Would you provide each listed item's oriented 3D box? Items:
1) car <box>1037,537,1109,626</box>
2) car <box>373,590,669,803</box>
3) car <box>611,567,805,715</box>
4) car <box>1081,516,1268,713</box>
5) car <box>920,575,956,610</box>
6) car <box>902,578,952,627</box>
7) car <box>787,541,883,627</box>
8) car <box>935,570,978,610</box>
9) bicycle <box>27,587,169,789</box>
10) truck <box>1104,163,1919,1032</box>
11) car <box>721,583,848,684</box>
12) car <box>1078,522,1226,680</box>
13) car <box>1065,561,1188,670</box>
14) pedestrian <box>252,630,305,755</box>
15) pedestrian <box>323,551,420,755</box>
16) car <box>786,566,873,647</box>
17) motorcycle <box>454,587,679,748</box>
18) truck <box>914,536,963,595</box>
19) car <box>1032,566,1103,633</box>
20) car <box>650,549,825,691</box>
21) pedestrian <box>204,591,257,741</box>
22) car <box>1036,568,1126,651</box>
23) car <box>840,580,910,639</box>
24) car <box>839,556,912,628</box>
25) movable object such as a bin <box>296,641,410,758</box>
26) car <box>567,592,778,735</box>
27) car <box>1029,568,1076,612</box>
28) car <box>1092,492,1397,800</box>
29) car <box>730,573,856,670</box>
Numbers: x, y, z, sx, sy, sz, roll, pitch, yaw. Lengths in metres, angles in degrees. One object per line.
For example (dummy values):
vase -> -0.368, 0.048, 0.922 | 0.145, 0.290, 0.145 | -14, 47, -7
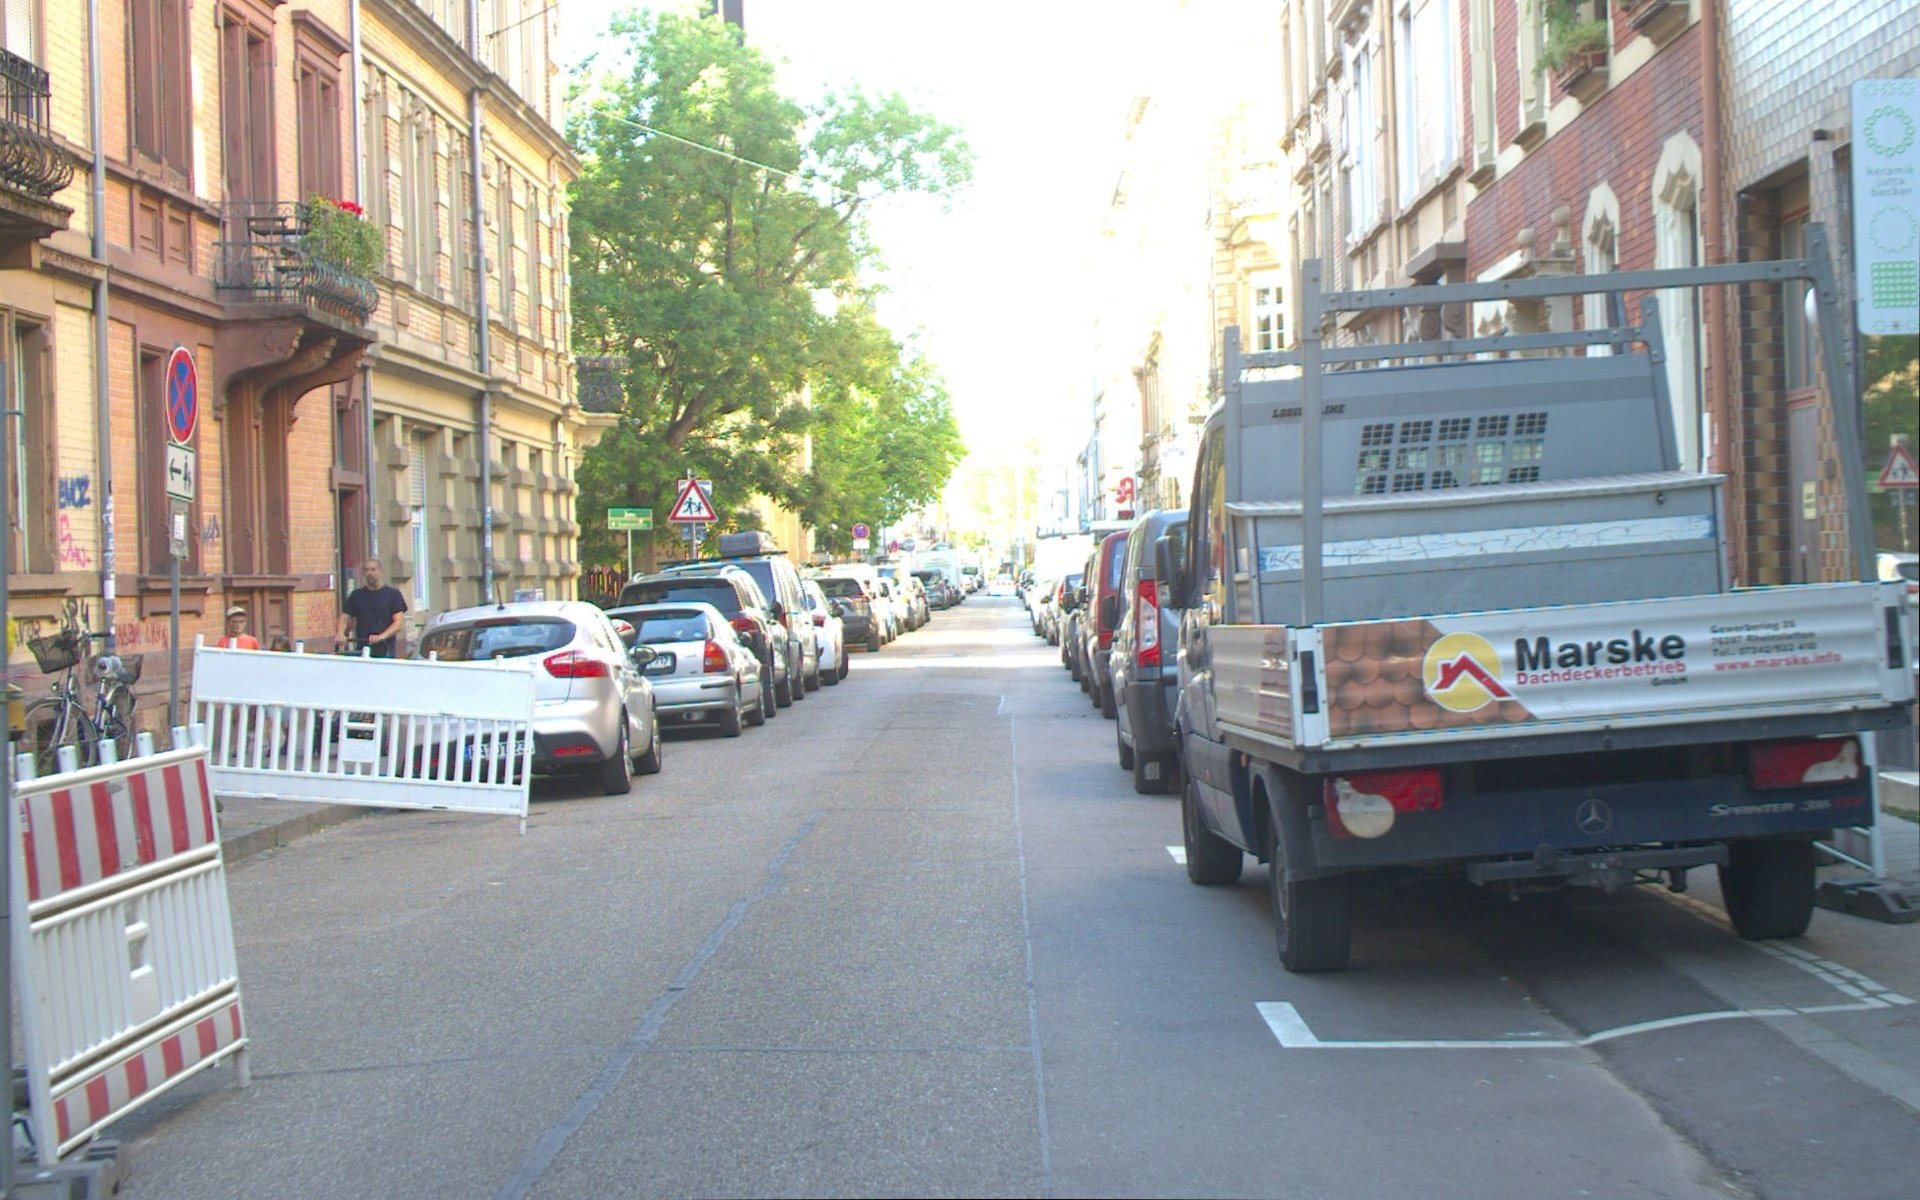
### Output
car -> 3.390, -0.575, 104.268 | 2.068, 2.602, 5.887 | -1, 1, 1
car -> -3.273, 0.676, 26.292 | 1.674, 1.414, 4.000 | -3, 0, 0
car -> -2.886, 0.441, 40.223 | 1.788, 1.619, 4.607 | 0, 0, 2
car -> 2.272, 0.133, 37.498 | 1.832, 2.007, 4.741 | 0, 0, 1
car -> -1.182, -0.383, 182.866 | 1.875, 1.790, 4.000 | -1, 0, 0
car -> -1.153, 0.079, 121.479 | 1.600, 1.609, 3.808 | -4, 0, 0
car -> -2.826, -0.382, 78.676 | 1.845, 1.856, 4.465 | -2, 1, 2
car -> -0.146, -0.457, 160.639 | 1.875, 1.790, 4.000 | -1, 0, 1
bicycle -> -6.340, 0.627, 25.348 | 0.524, 1.420, 1.712 | 2, 0, 2
truck -> 2.006, -0.029, 14.366 | 2.148, 2.648, 6.254 | -5, 0, -1
car -> -2.530, 0.467, 50.303 | 1.674, 1.416, 3.874 | 0, 0, 0
car -> 2.456, 0.002, 44.772 | 1.769, 1.954, 4.264 | 0, 0, 1
car -> 2.403, 0.199, 50.244 | 1.666, 1.474, 3.887 | -1, 1, 1
pedestrian -> -5.965, 0.806, 30.102 | 0.393, 1.083, 0.432 | -1, 0, -4
pedestrian -> -5.196, 0.457, 30.393 | 0.685, 1.759, 0.887 | -1, 0, -2
car -> -2.755, 0.120, 73.174 | 1.740, 1.641, 4.289 | -2, 0, -1
motorcycle -> -3.597, 0.629, 31.275 | 0.842, 1.355, 2.195 | -4, 0, -41
truck -> -1.227, -1.985, 199.125 | 2.532, 3.270, 6.994 | -1, 0, 1
car -> 2.789, -0.019, 89.419 | 1.808, 1.684, 4.214 | 1, 0, 2
car -> -2.895, 0.242, 45.645 | 1.893, 1.778, 4.607 | 0, 0, 2
pedestrian -> -6.389, 0.576, 30.114 | 0.393, 1.302, 0.432 | -1, 0, -4
car -> 2.608, 0.189, 74.818 | 1.703, 1.708, 3.938 | -2, 0, -1
car -> -2.329, 0.243, 94.907 | 1.742, 1.581, 3.869 | -1, 0, 1
car -> -2.440, -0.248, 100.390 | 1.864, 1.950, 4.610 | -3, 0, 0
movable object such as a bin -> -5.149, 0.830, 29.239 | 0.761, 0.929, 1.415 | -1, 0, -3
car -> -2.874, 0.610, 35.051 | 1.698, 1.309, 4.000 | 2, 0, 1
car -> 3.246, -0.357, 119.987 | 1.604, 1.499, 4.000 | 0, 0, 2
car -> 1.943, 0.283, 24.715 | 1.845, 1.977, 4.576 | 1, 0, 1
car -> -2.623, 0.323, 54.728 | 1.722, 1.476, 4.089 | 0, 0, 1
